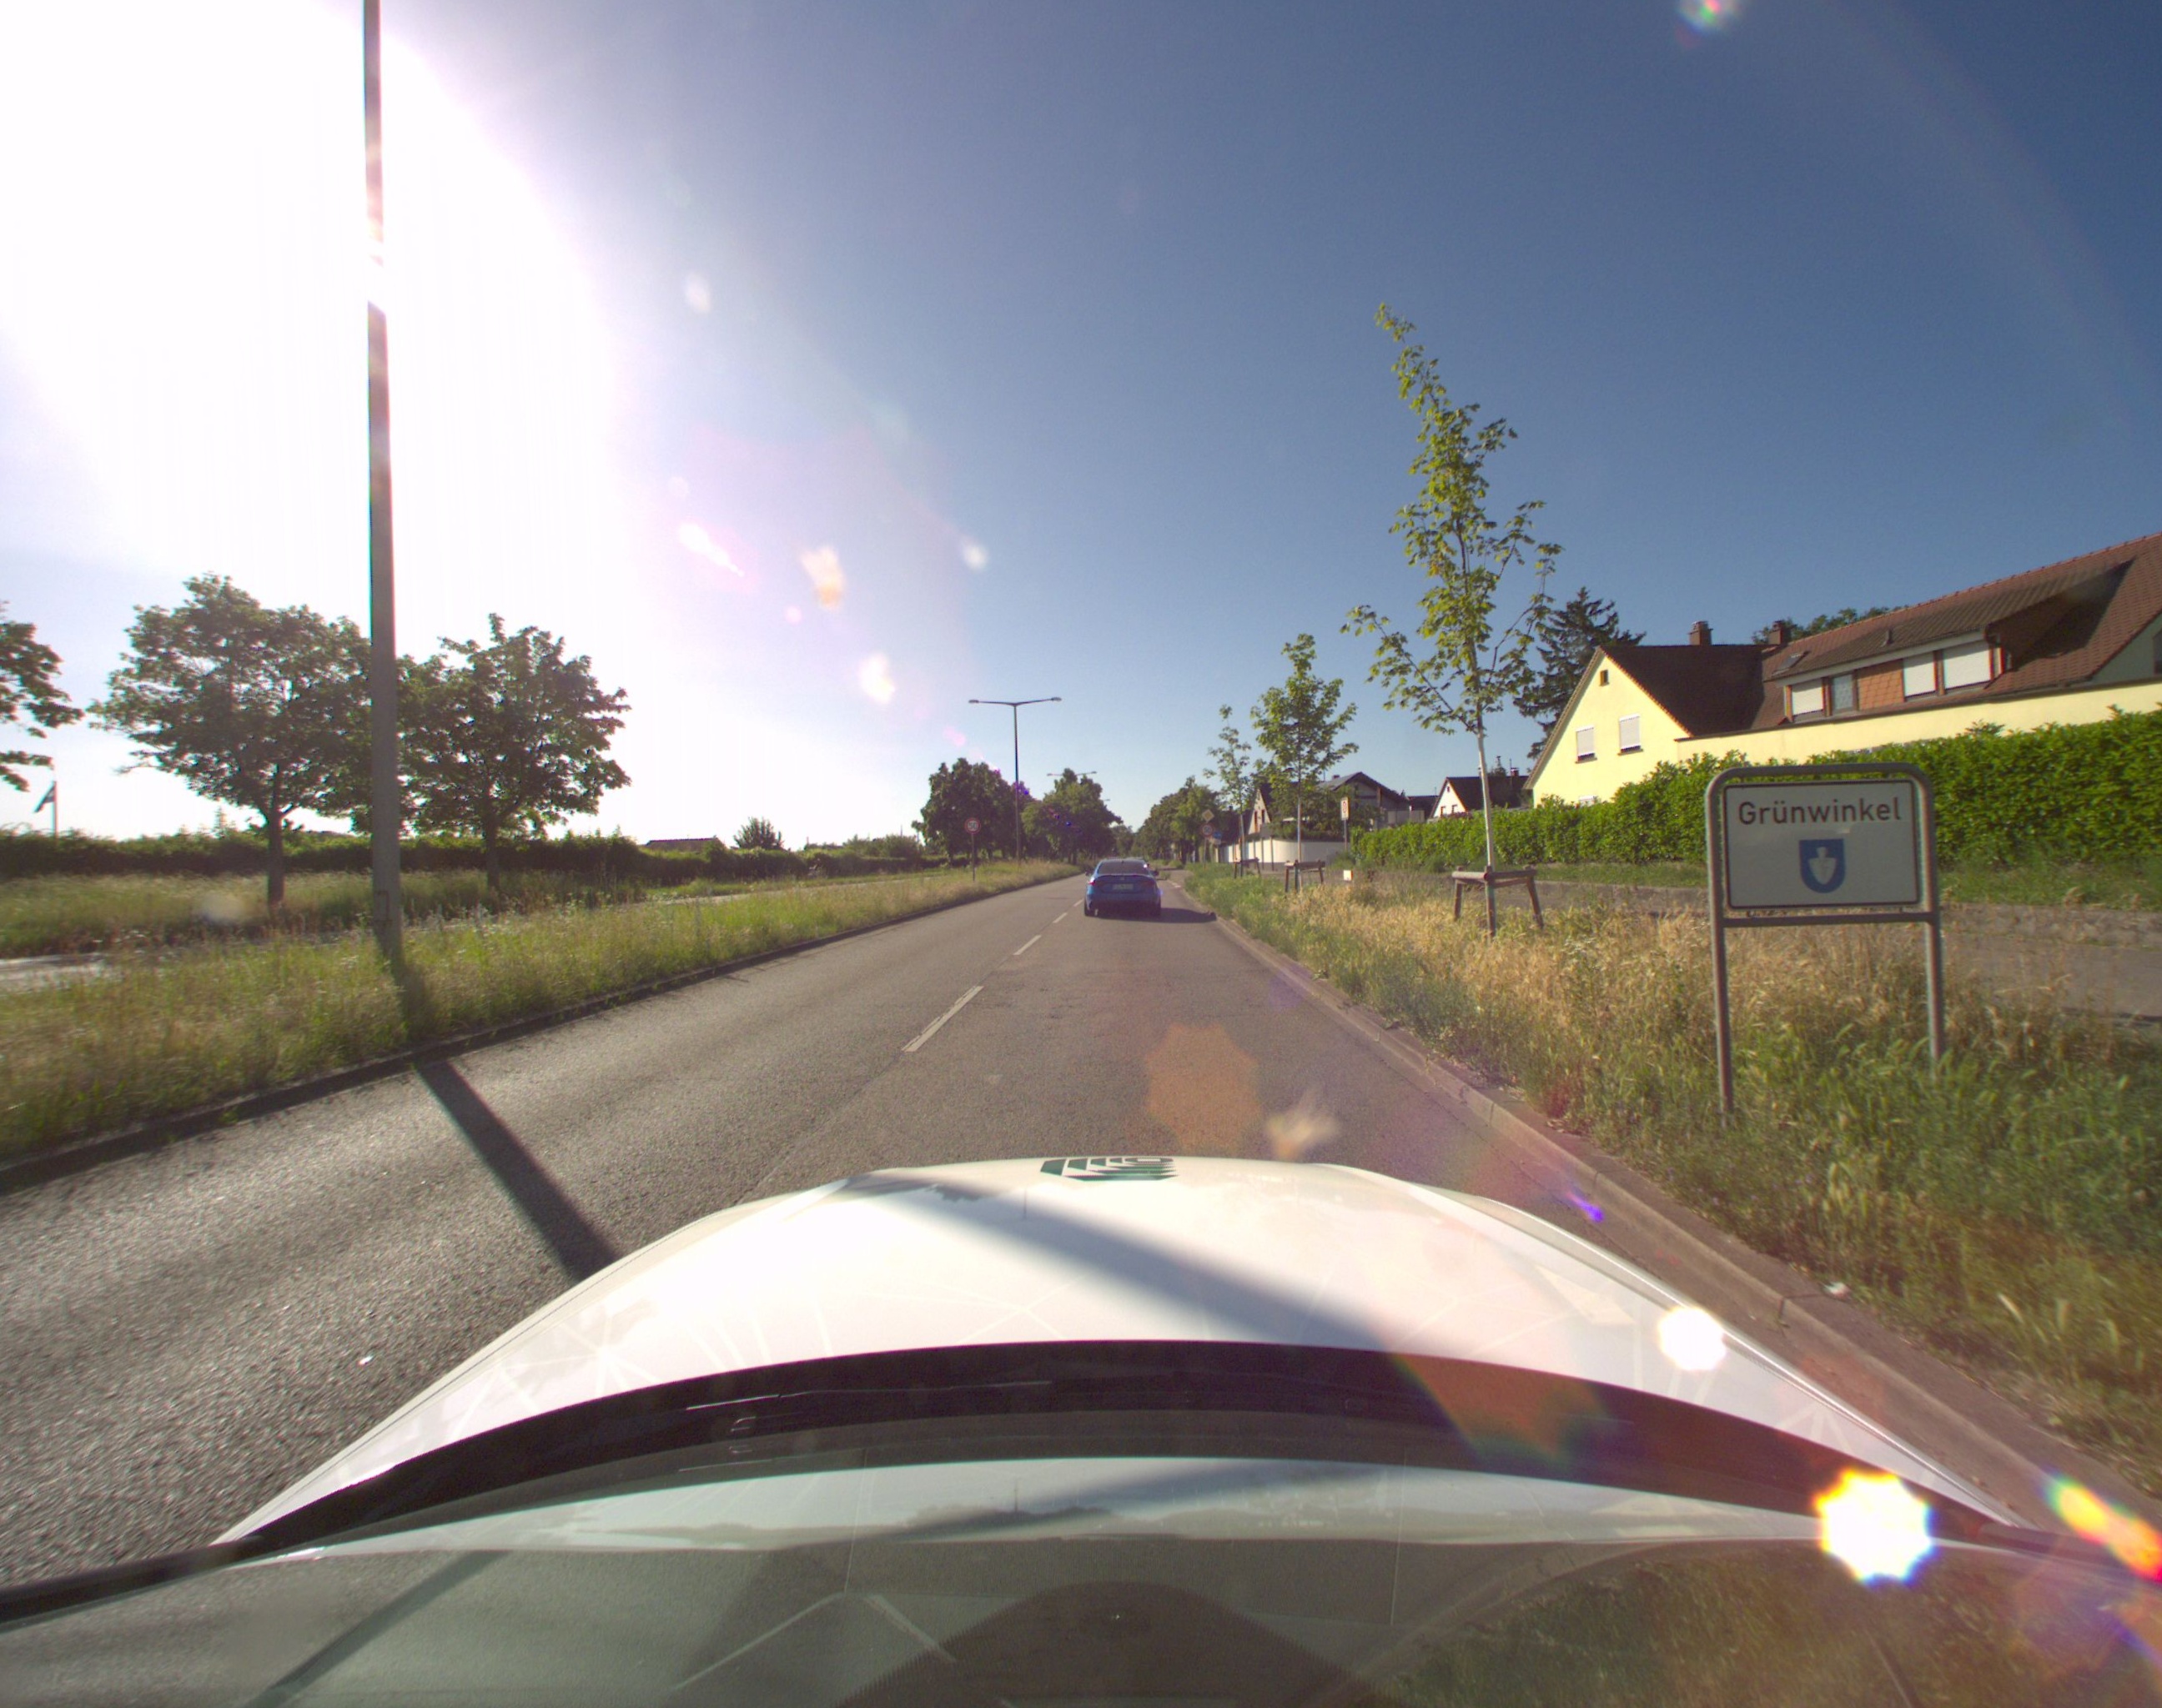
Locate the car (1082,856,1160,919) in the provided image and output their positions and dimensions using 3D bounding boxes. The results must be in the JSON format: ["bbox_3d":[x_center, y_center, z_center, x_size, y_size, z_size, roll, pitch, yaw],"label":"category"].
[{"bbox_3d":[1.105,0.802,21.395,1.830,1.474,4.189,-1,0,4],"label":"car"}]

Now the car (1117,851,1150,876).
[{"bbox_3d":[3.451,0.642,54.468,1.909,1.579,4.181,-1,0,0],"label":"car"}]

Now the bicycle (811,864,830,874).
[{"bbox_3d":[-20.156,1.172,63.093,0.561,0.695,1.880,-1,0,11],"label":"bicycle"}]

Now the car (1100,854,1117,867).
[{"bbox_3d":[3.388,0.775,100.224,1.908,1.512,4.069,-1,0,2],"label":"car"}]

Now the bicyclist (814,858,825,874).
[{"bbox_3d":[-20.205,0.937,62.877,0.579,1.257,0.577,-1,0,10],"label":"bicyclist"}]

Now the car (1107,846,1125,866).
[{"bbox_3d":[3.708,0.235,84.932,1.785,2.013,4.004,-1,0,4],"label":"car"}]

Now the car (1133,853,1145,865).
[{"bbox_3d":[7.896,0.694,111.016,1.653,1.579,3.813,-1,0,4],"label":"car"}]
